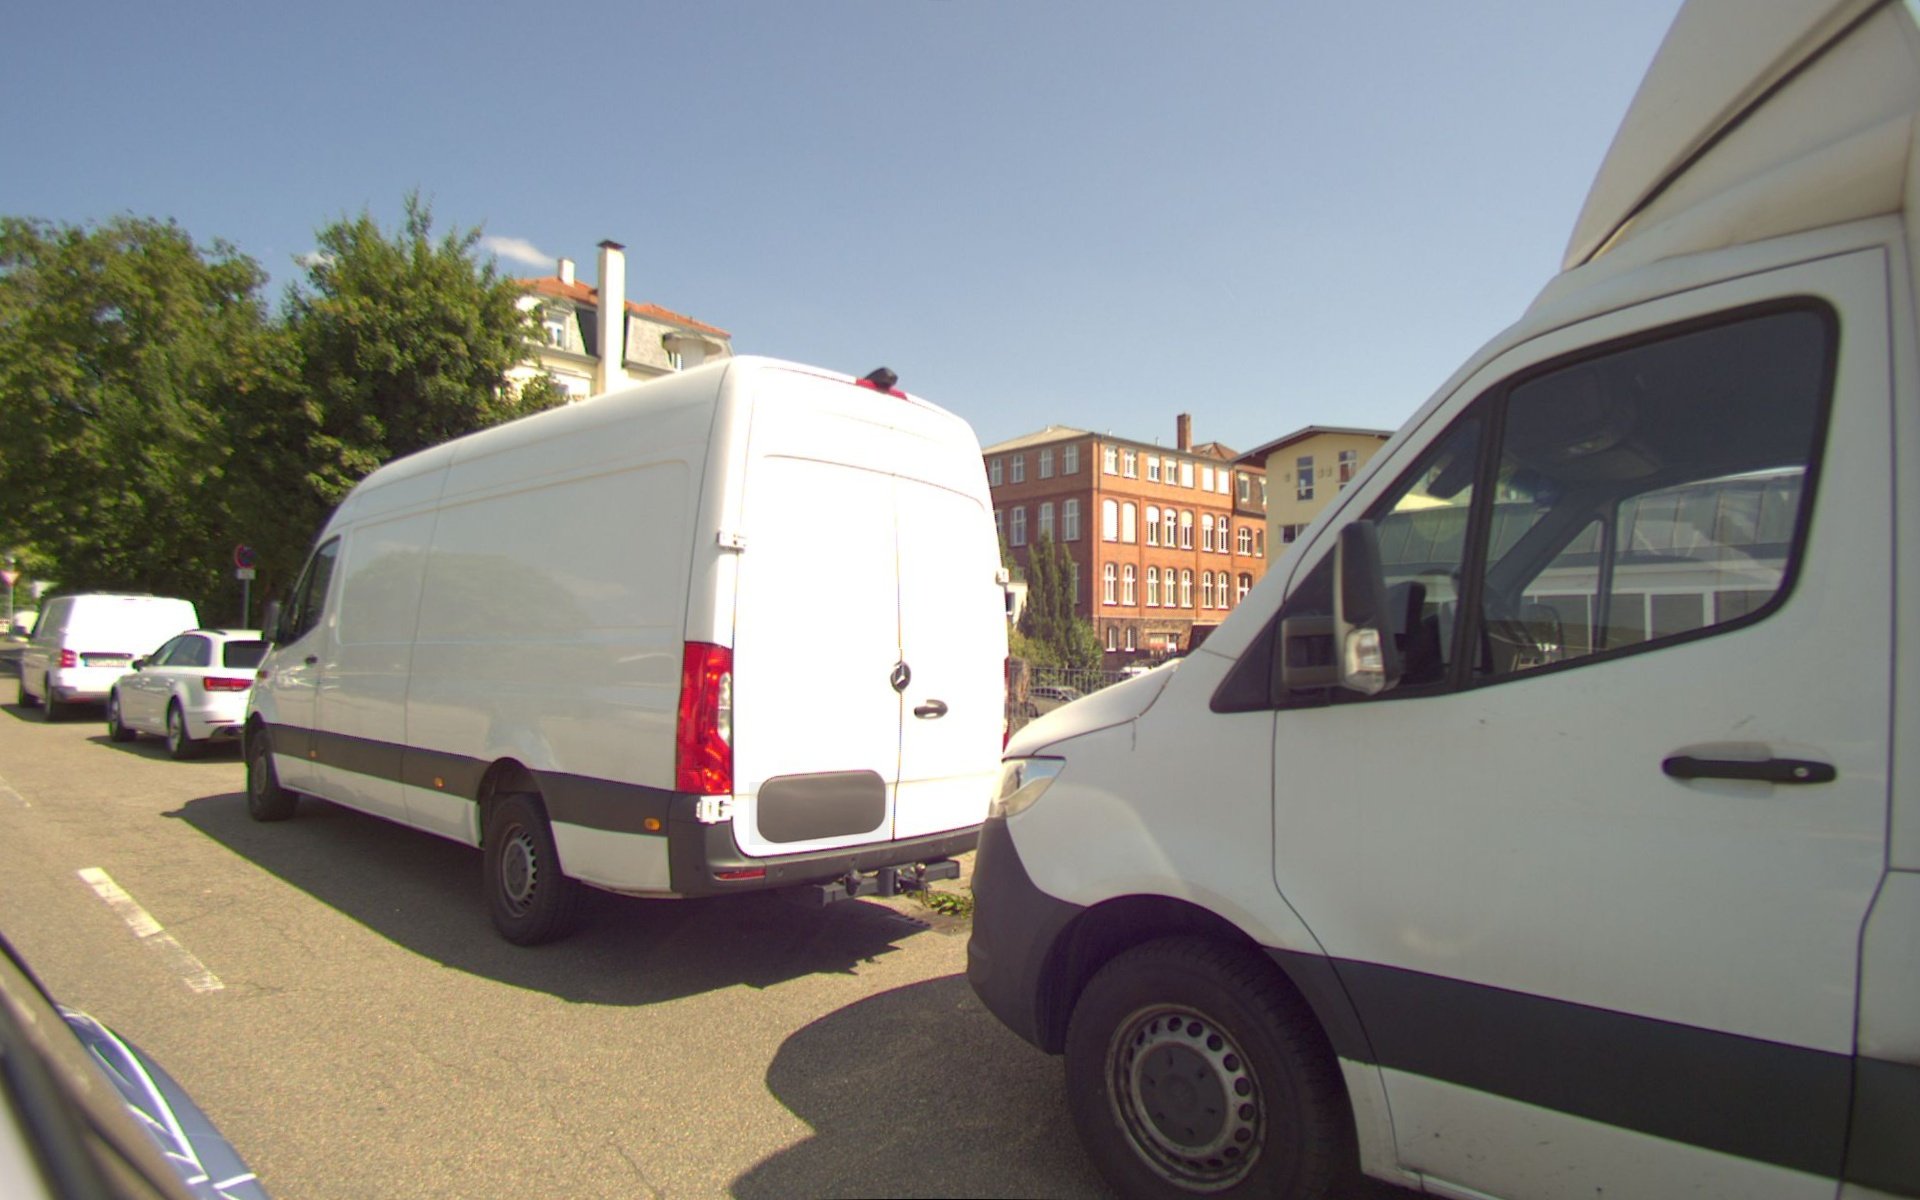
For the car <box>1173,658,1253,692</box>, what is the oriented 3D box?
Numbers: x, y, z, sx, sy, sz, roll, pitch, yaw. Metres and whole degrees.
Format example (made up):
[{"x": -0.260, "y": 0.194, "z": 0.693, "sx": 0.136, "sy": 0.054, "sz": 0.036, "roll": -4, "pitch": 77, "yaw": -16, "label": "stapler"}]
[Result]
[{"x": 14.317, "y": 4.175, "z": 57.123, "sx": 4.528, "sy": 1.690, "sz": 2.120, "roll": 2, "pitch": -1, "yaw": -39, "label": "car"}]

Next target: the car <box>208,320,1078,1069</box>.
[{"x": -2.707, "y": 0.381, "z": 6.659, "sx": 6.918, "sy": 2.615, "sz": 2.145, "roll": 0, "pitch": -3, "yaw": 42, "label": "car"}]

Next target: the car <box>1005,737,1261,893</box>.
[{"x": 3.096, "y": 3.800, "z": 18.642, "sx": 4.353, "sy": 1.944, "sz": 1.841, "roll": 0, "pitch": 0, "yaw": 42, "label": "car"}]

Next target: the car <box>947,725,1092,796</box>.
[{"x": 1.584, "y": 4.394, "z": 28.152, "sx": 1.780, "sy": 1.453, "sz": 4.007, "roll": 1, "pitch": -2, "yaw": -39, "label": "car"}]

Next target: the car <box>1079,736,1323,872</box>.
[{"x": 4.782, "y": 3.975, "z": 20.466, "sx": 4.415, "sy": 1.865, "sz": 1.898, "roll": 1, "pitch": -1, "yaw": 42, "label": "car"}]

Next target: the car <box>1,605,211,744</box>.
[{"x": -14.585, "y": 1.157, "z": 17.175, "sx": 5.054, "sy": 2.029, "sz": 1.950, "roll": -1, "pitch": -4, "yaw": 42, "label": "car"}]

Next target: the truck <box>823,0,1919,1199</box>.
[{"x": 3.195, "y": -0.193, "z": 1.600, "sx": 7.125, "sy": 3.392, "sz": 2.657, "roll": 0, "pitch": -2, "yaw": 41, "label": "truck"}]

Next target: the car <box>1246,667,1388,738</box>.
[{"x": 16.832, "y": 4.763, "z": 48.019, "sx": 2.405, "sy": 2.898, "sz": 5.944, "roll": 4, "pitch": -3, "yaw": -39, "label": "car"}]

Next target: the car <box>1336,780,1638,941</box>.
[{"x": 8.538, "y": 4.105, "z": 16.617, "sx": 1.971, "sy": 1.630, "sz": 4.002, "roll": 2, "pitch": -2, "yaw": -45, "label": "car"}]

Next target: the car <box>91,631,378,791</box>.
[{"x": -8.942, "y": 1.214, "z": 12.337, "sx": 4.396, "sy": 1.555, "sz": 1.697, "roll": 0, "pitch": -3, "yaw": 39, "label": "car"}]

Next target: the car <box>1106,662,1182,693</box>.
[{"x": 11.193, "y": 4.674, "z": 61.403, "sx": 4.528, "sy": 1.690, "sz": 2.120, "roll": 1, "pitch": -2, "yaw": -39, "label": "car"}]
